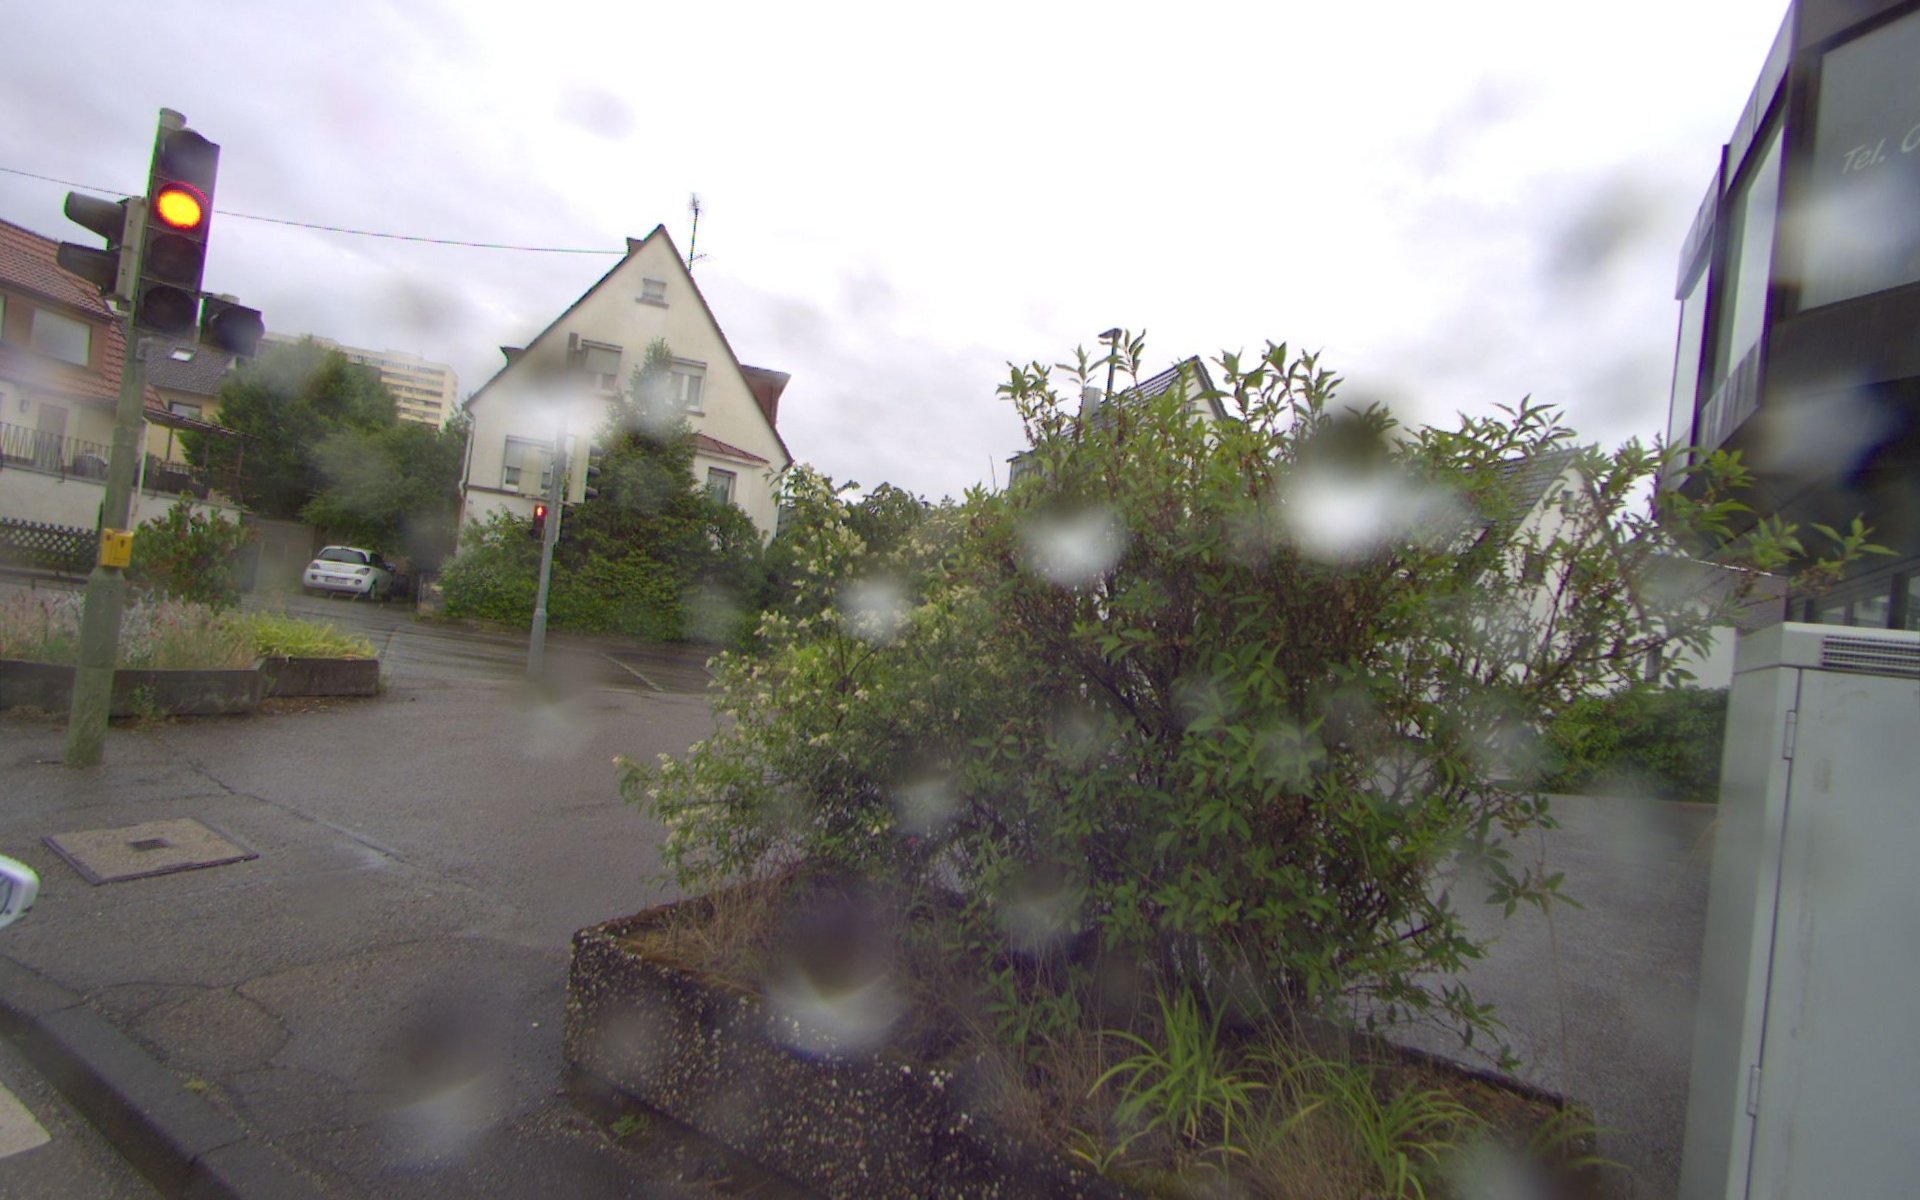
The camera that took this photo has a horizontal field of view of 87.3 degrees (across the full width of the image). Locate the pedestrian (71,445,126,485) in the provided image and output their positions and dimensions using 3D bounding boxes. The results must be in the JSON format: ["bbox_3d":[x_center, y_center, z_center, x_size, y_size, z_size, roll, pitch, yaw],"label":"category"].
[{"bbox_3d":[-24.269,-3.799,28.365,0.623,0.893,0.920,5,-2,13],"label":"pedestrian"}]

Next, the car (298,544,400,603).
[{"bbox_3d":[-17.753,-0.742,29.415,1.794,1.378,3.981,8,-2,-22],"label":"car"}]
